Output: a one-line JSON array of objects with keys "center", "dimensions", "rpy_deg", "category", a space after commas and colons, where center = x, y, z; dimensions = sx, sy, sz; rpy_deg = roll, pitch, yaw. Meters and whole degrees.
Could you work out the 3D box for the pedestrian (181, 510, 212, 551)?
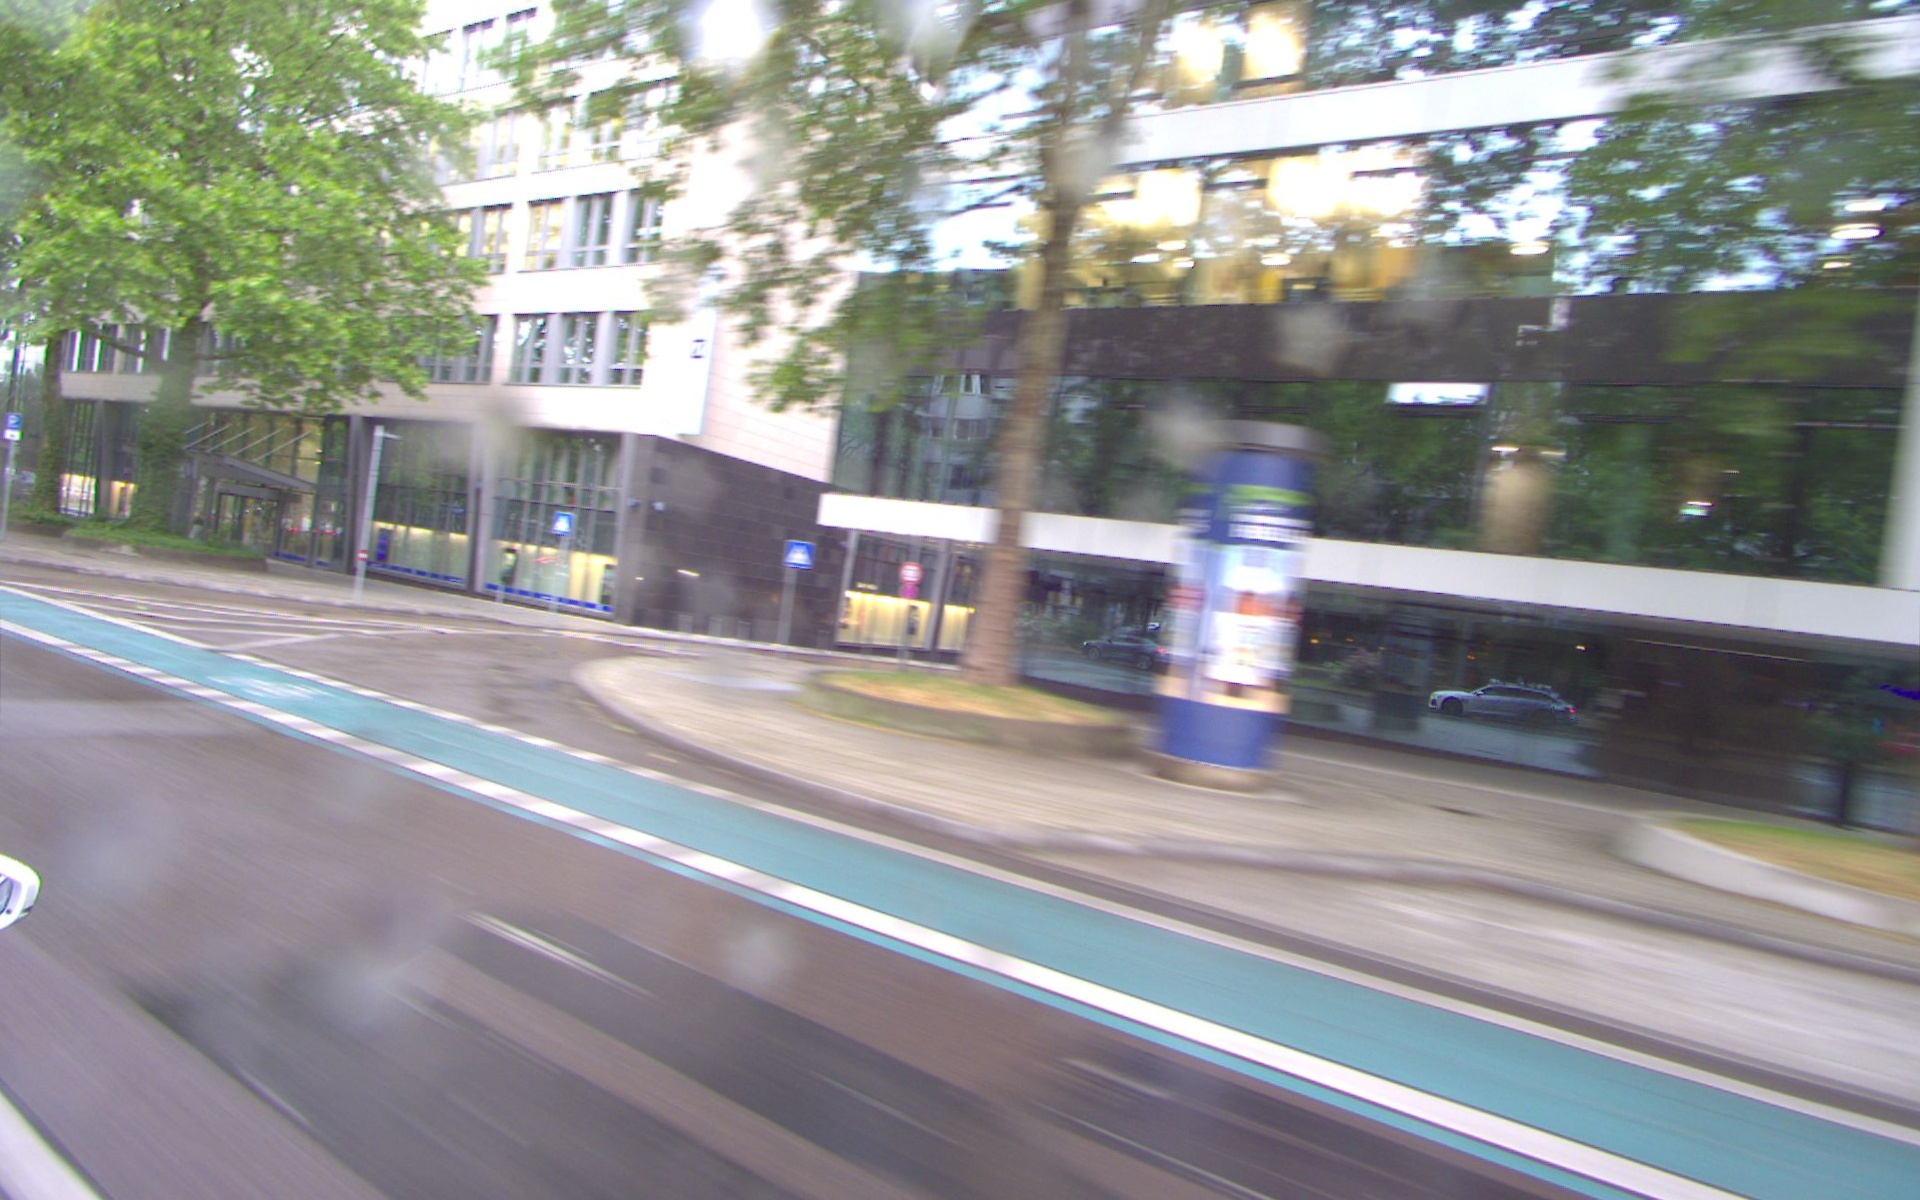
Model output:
[{"center": [-34.258, -3.116, 45.170], "dimensions": [0.718, 1.714, 0.825], "rpy_deg": [7, 1, -16], "category": "pedestrian"}]
